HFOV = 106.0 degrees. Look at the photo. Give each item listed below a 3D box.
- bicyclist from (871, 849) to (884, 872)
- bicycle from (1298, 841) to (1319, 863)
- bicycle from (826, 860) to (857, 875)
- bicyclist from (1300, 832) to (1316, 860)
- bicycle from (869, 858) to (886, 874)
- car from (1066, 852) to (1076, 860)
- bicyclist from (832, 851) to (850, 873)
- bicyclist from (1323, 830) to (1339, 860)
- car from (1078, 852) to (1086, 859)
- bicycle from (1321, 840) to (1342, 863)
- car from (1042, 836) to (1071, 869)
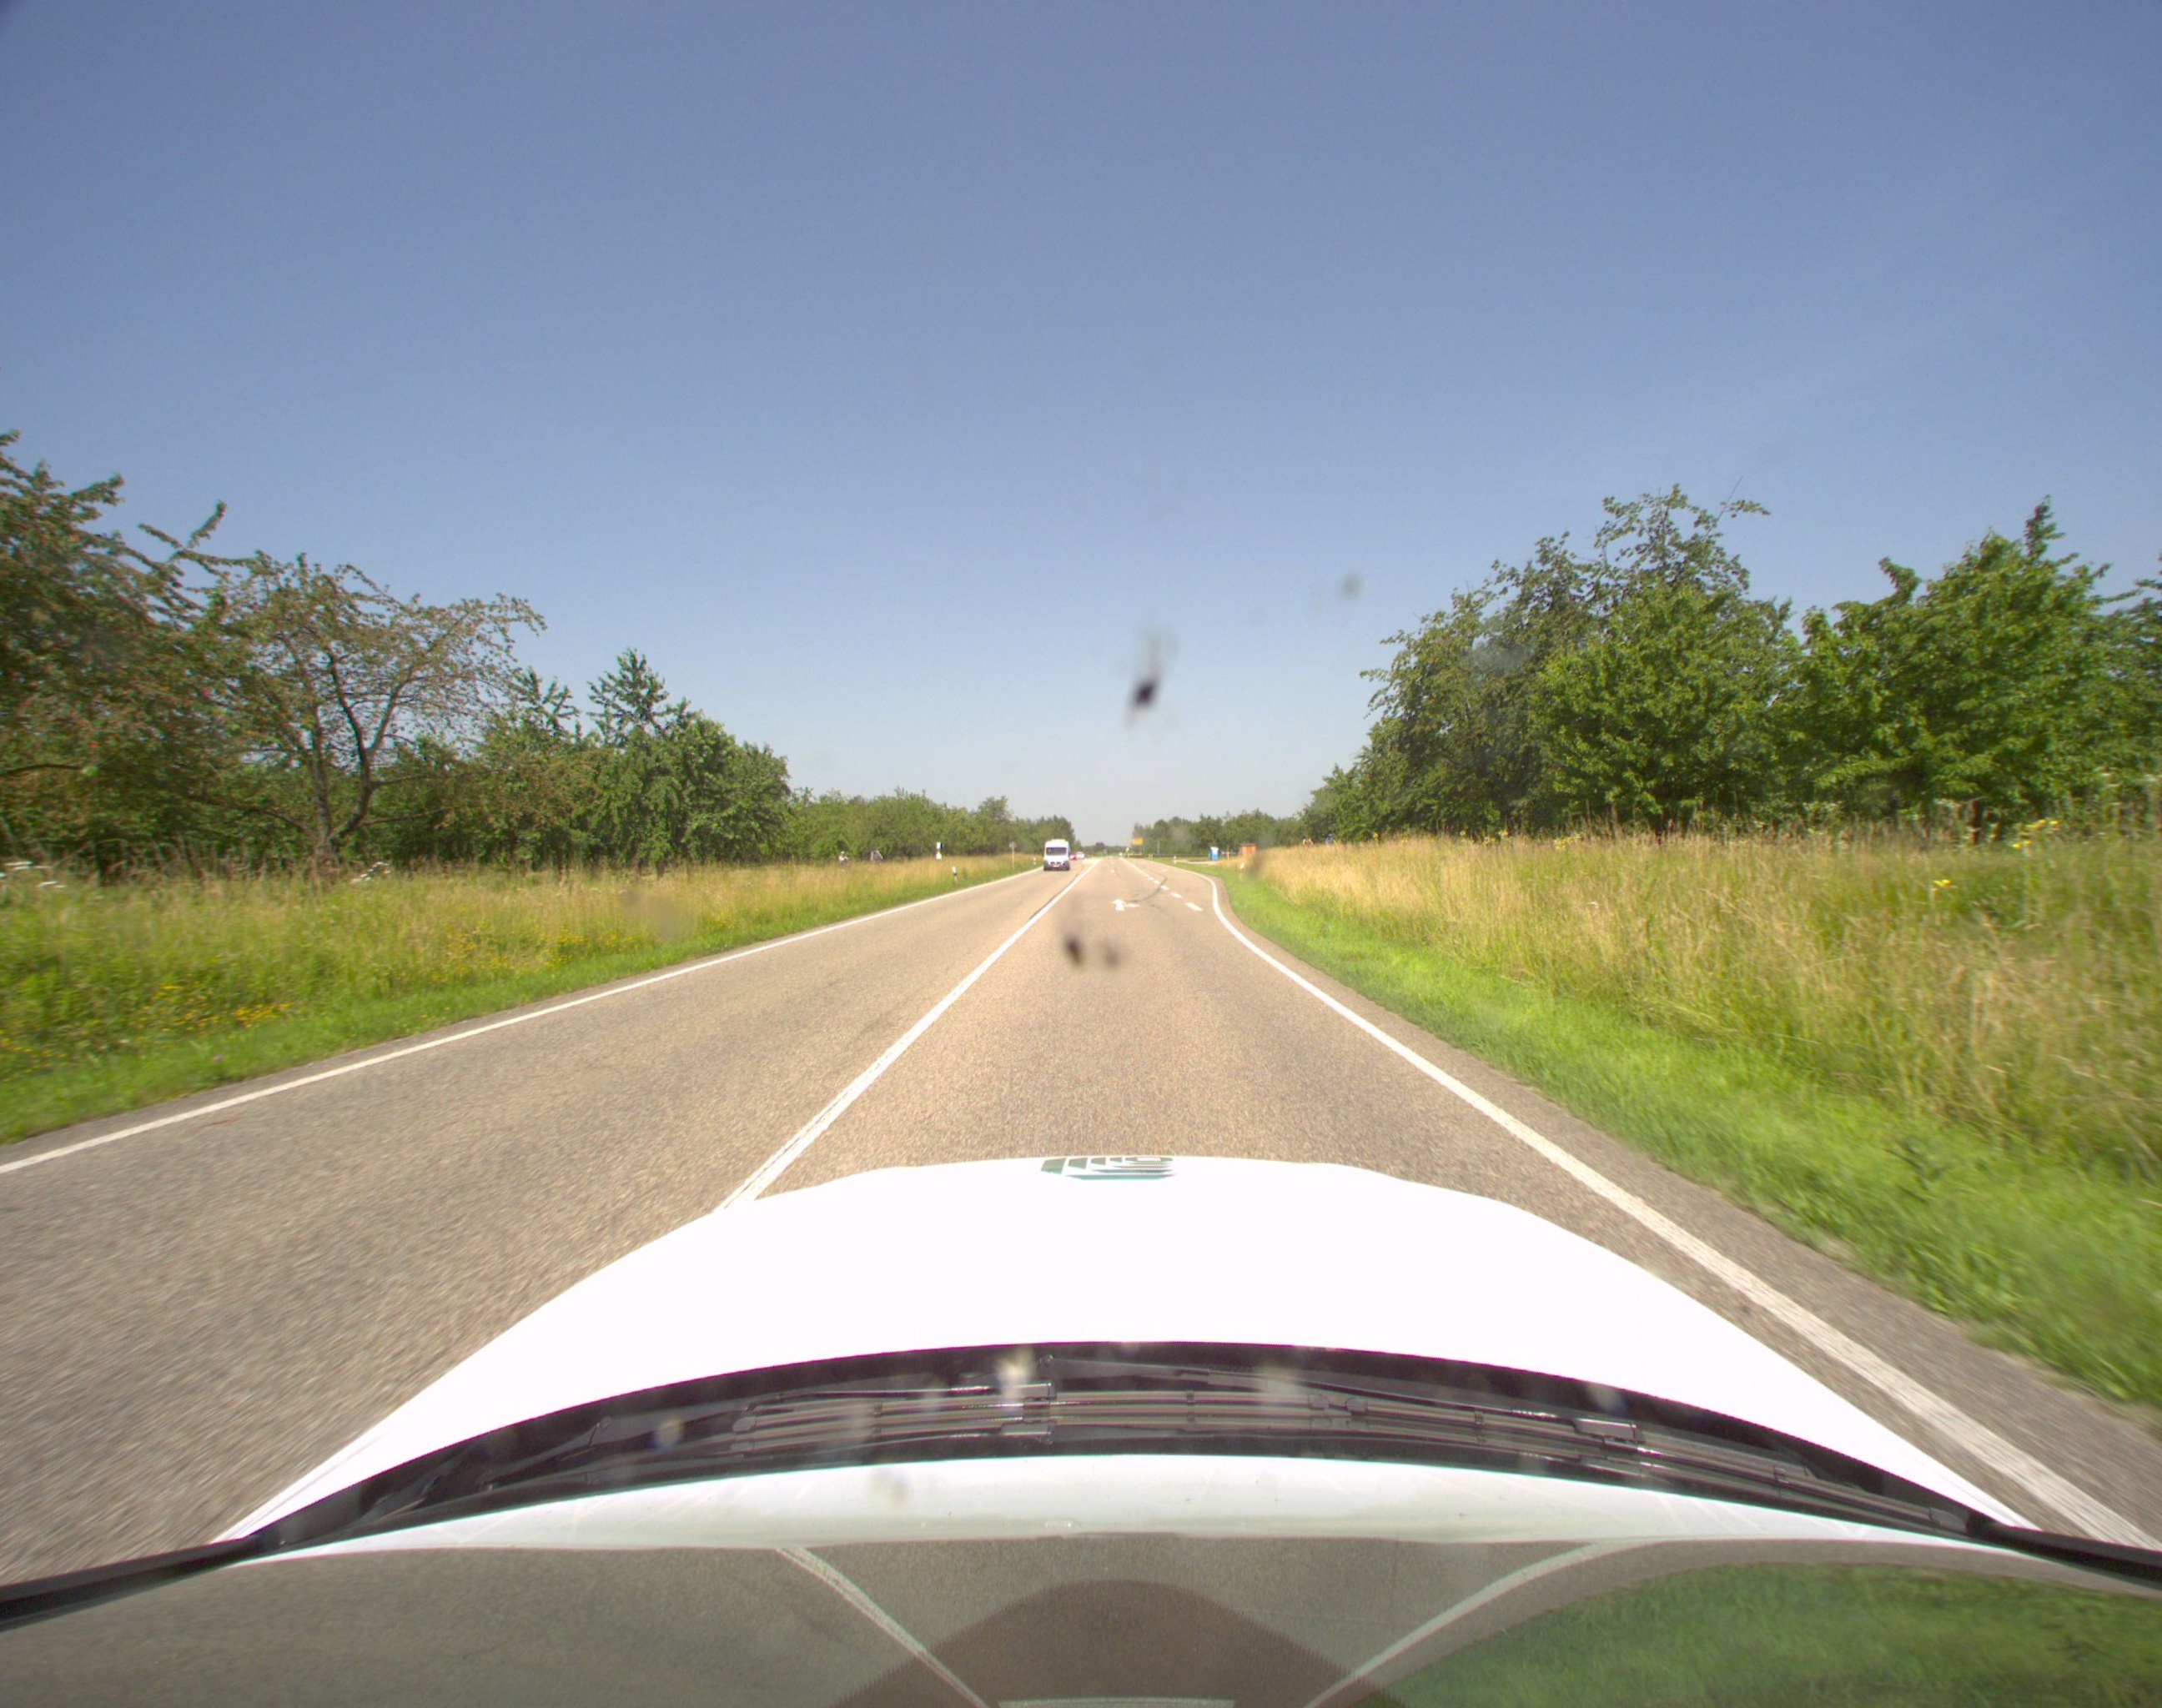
[{"bbox_3d":[-12.371,0.388,49.481,0.644,1.414,0.856,0,-1,-24],"label":"bicyclist"},{"bbox_3d":[15.034,-0.145,53.849,0.747,1.418,2.222,-2,0,2],"label":"bicycle"},{"bbox_3d":[-15.933,0.887,54.121,2.196,0.989,0.747,-1,-1,35],"label":"bicycle"},{"bbox_3d":[15.029,-0.524,53.870,0.747,1.866,0.869,-2,0,2],"label":"bicyclist"},{"bbox_3d":[-12.371,0.730,49.476,0.652,0.989,1.940,0,-1,-24],"label":"bicycle"},{"bbox_3d":[-1.715,0.334,139.312,1.620,1.457,3.621,-1,0,1],"label":"car"},{"bbox_3d":[-15.939,0.510,54.128,0.852,1.455,0.747,-1,-1,35],"label":"bicyclist"},{"bbox_3d":[16.461,-0.615,53.623,0.747,1.929,0.828,-2,0,1],"label":"bicyclist"},{"bbox_3d":[0.213,0.334,172.171,1.669,1.494,4.136,-1,0,0],"label":"car"},{"bbox_3d":[16.474,-0.165,53.612,0.747,1.418,2.222,-2,0,2],"label":"bicycle"},{"bbox_3d":[-1.998,-0.080,68.983,2.153,2.669,6.143,-1,0,1],"label":"car"}]
